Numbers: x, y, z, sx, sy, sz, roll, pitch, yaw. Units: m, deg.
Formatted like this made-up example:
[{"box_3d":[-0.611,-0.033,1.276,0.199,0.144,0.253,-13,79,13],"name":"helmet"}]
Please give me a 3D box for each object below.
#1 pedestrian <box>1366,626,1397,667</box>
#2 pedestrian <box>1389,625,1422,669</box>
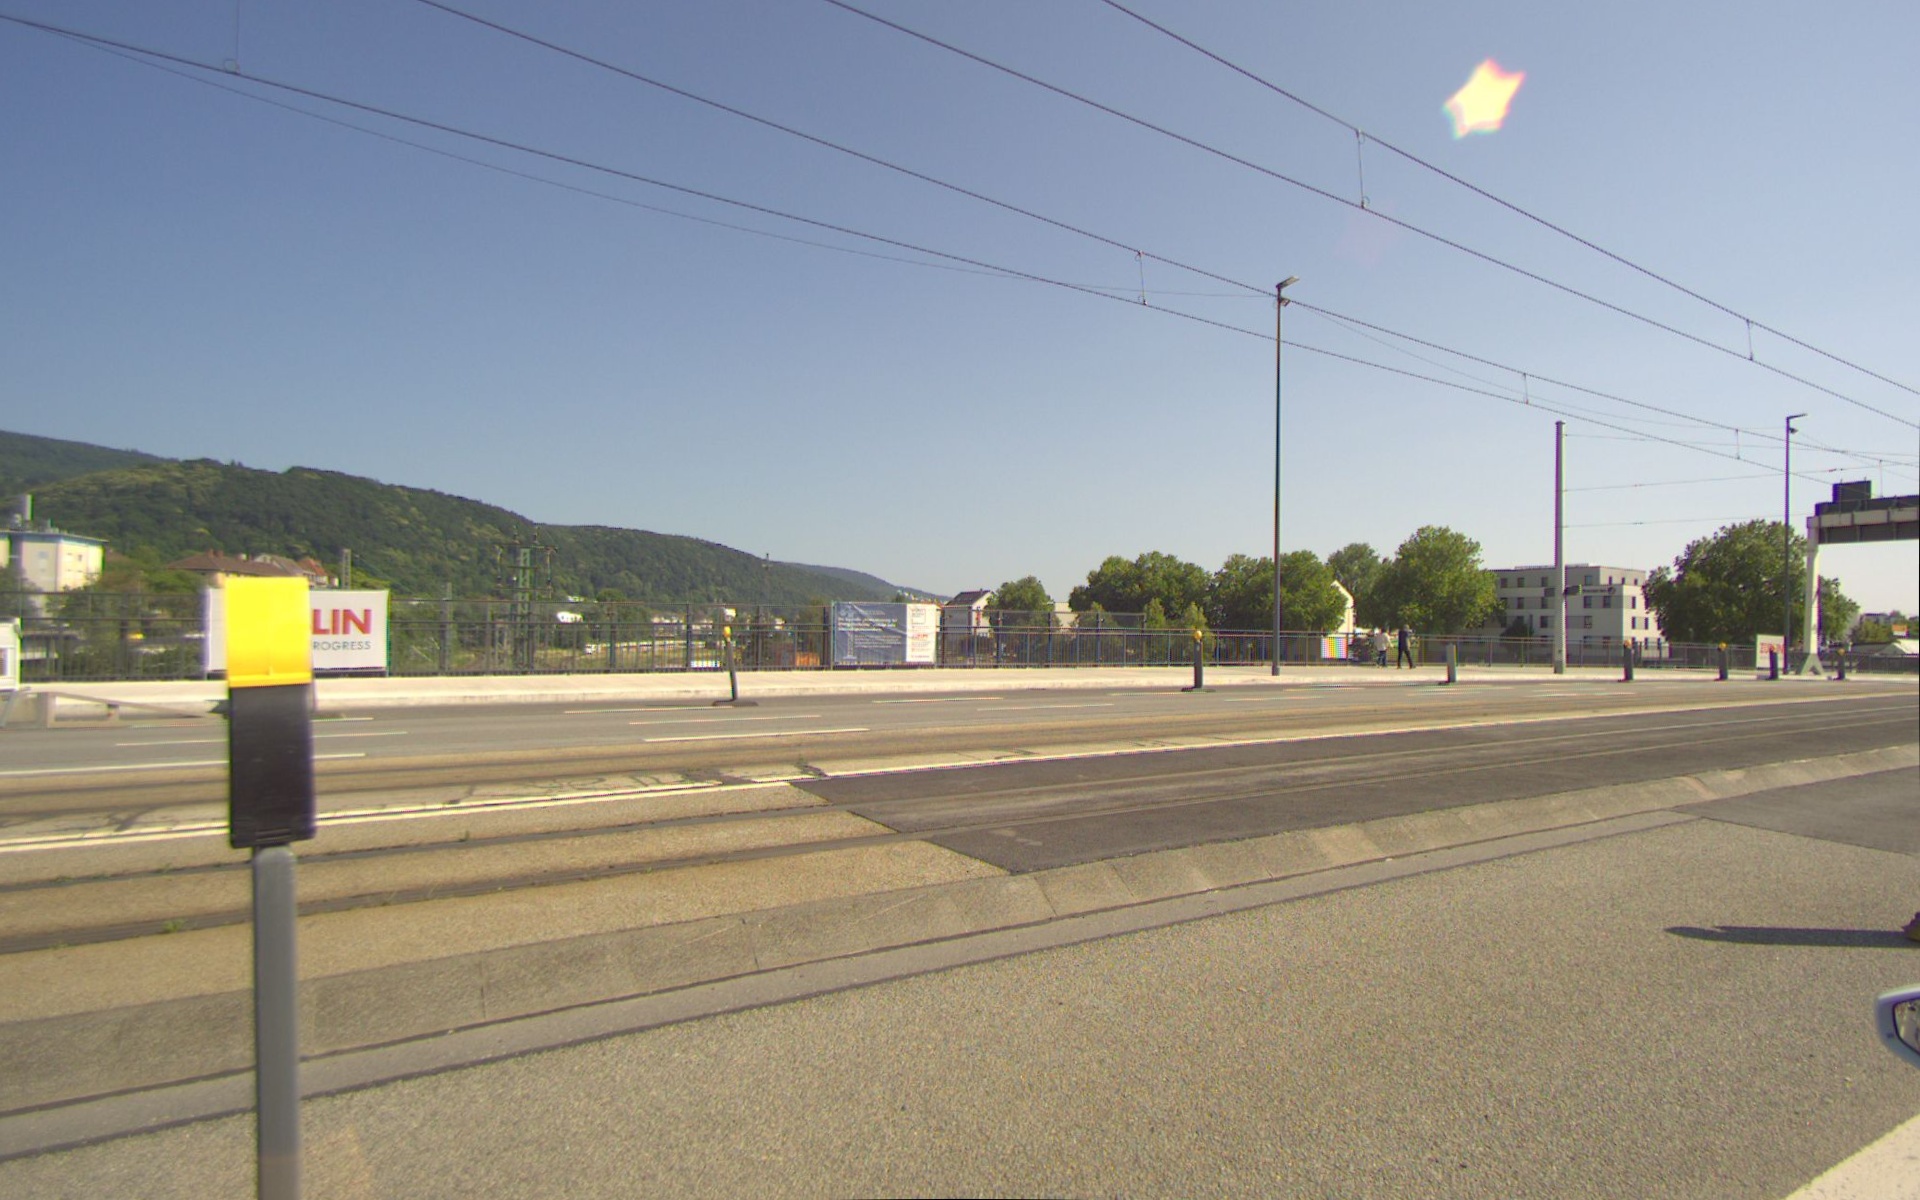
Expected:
[{"box_3d":[16.699,1.837,39.792,0.878,1.565,0.716,2,1,-30],"name":"pedestrian"},{"box_3d":[17.303,1.821,39.007,0.884,1.663,0.740,2,1,-30],"name":"pedestrian"}]
